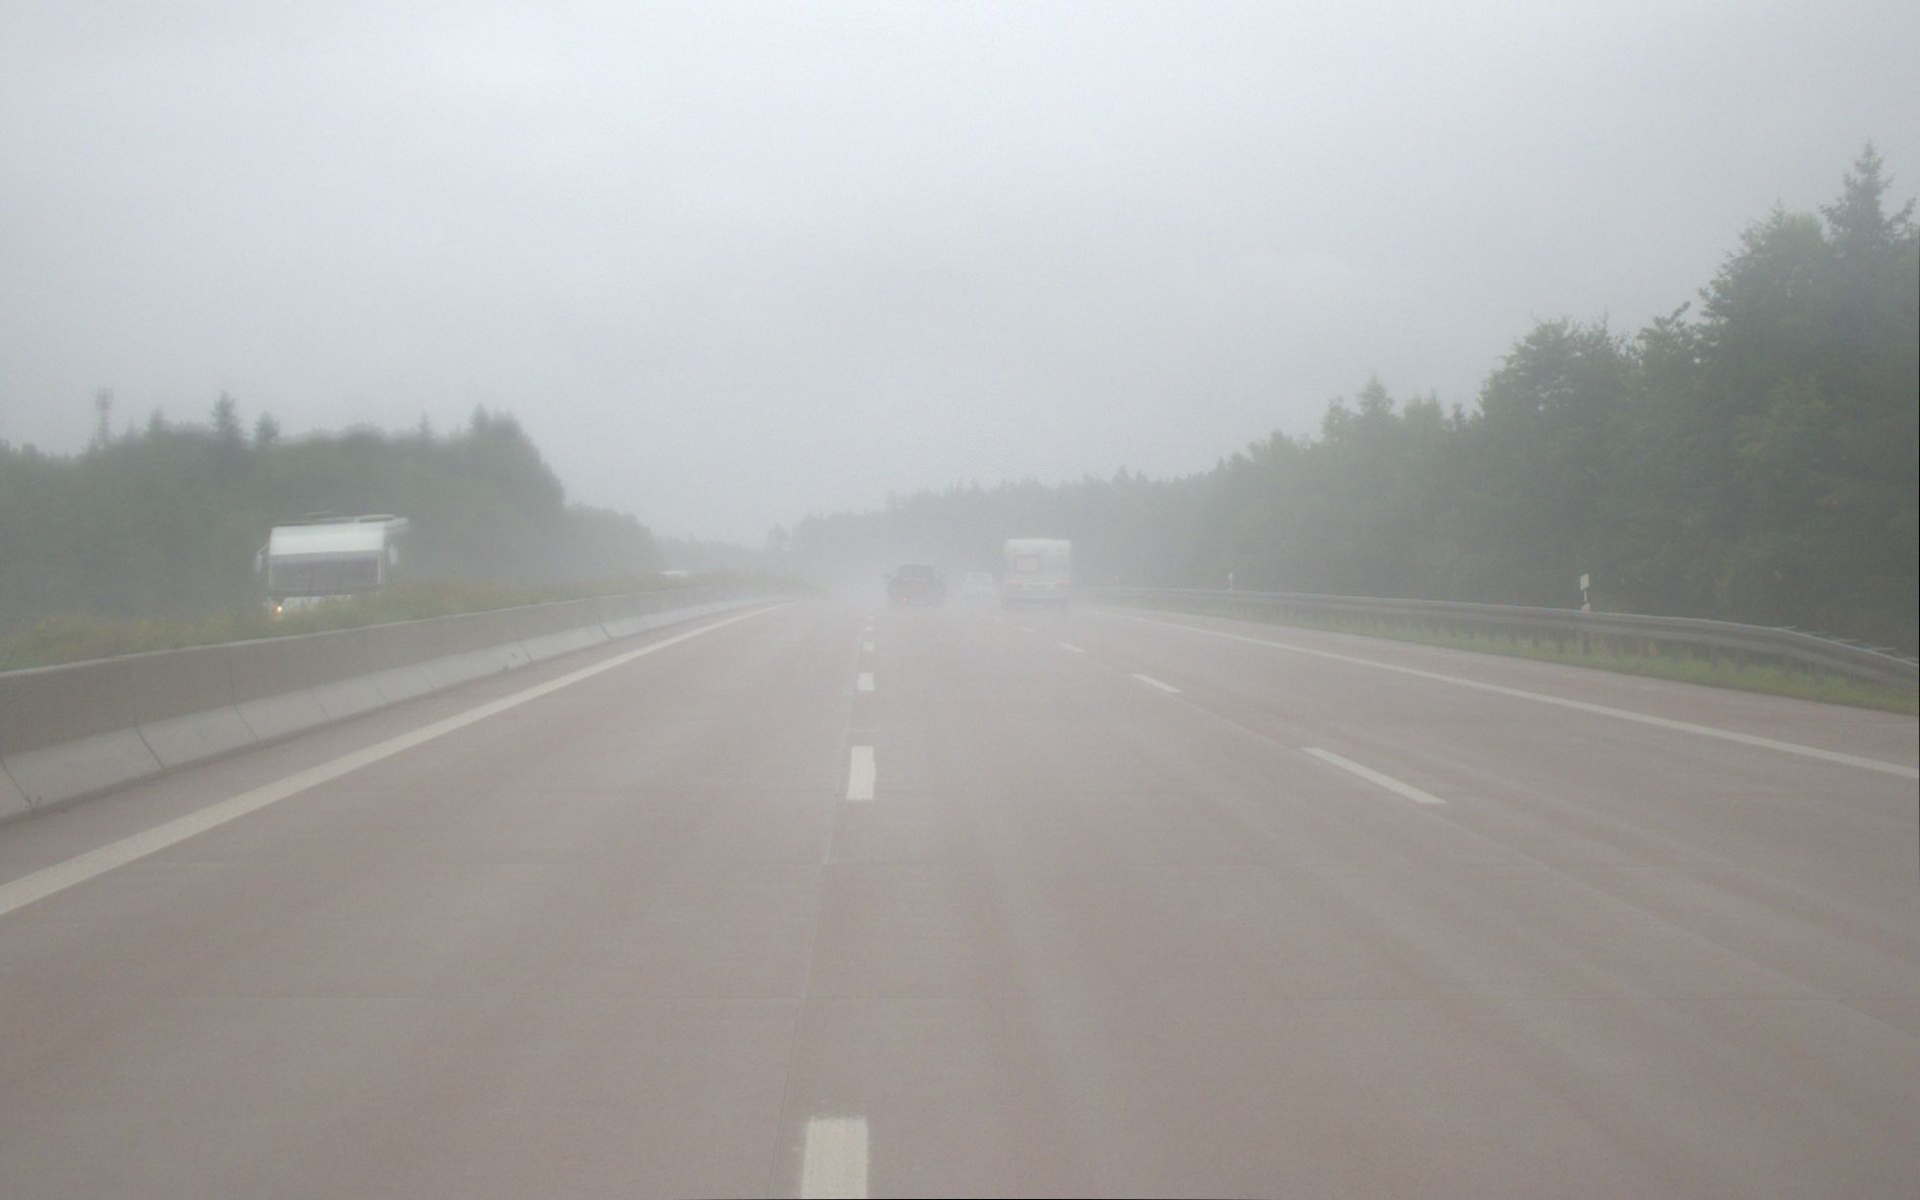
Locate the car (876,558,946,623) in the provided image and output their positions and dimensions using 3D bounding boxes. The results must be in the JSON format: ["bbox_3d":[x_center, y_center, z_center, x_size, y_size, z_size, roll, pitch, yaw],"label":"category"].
[{"bbox_3d":[-1.621,-0.348,113.445,2.173,1.974,4.130,3,1,-1],"label":"car"}]

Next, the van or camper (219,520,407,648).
[{"bbox_3d":[-13.051,-0.370,69.818,2.790,2.397,6.490,-2,1,-2],"label":"van or camper"}]

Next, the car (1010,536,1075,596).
[{"bbox_3d":[2.902,-1.212,121.659,2.058,1.993,4.099,3,1,-1],"label":"car"}]
